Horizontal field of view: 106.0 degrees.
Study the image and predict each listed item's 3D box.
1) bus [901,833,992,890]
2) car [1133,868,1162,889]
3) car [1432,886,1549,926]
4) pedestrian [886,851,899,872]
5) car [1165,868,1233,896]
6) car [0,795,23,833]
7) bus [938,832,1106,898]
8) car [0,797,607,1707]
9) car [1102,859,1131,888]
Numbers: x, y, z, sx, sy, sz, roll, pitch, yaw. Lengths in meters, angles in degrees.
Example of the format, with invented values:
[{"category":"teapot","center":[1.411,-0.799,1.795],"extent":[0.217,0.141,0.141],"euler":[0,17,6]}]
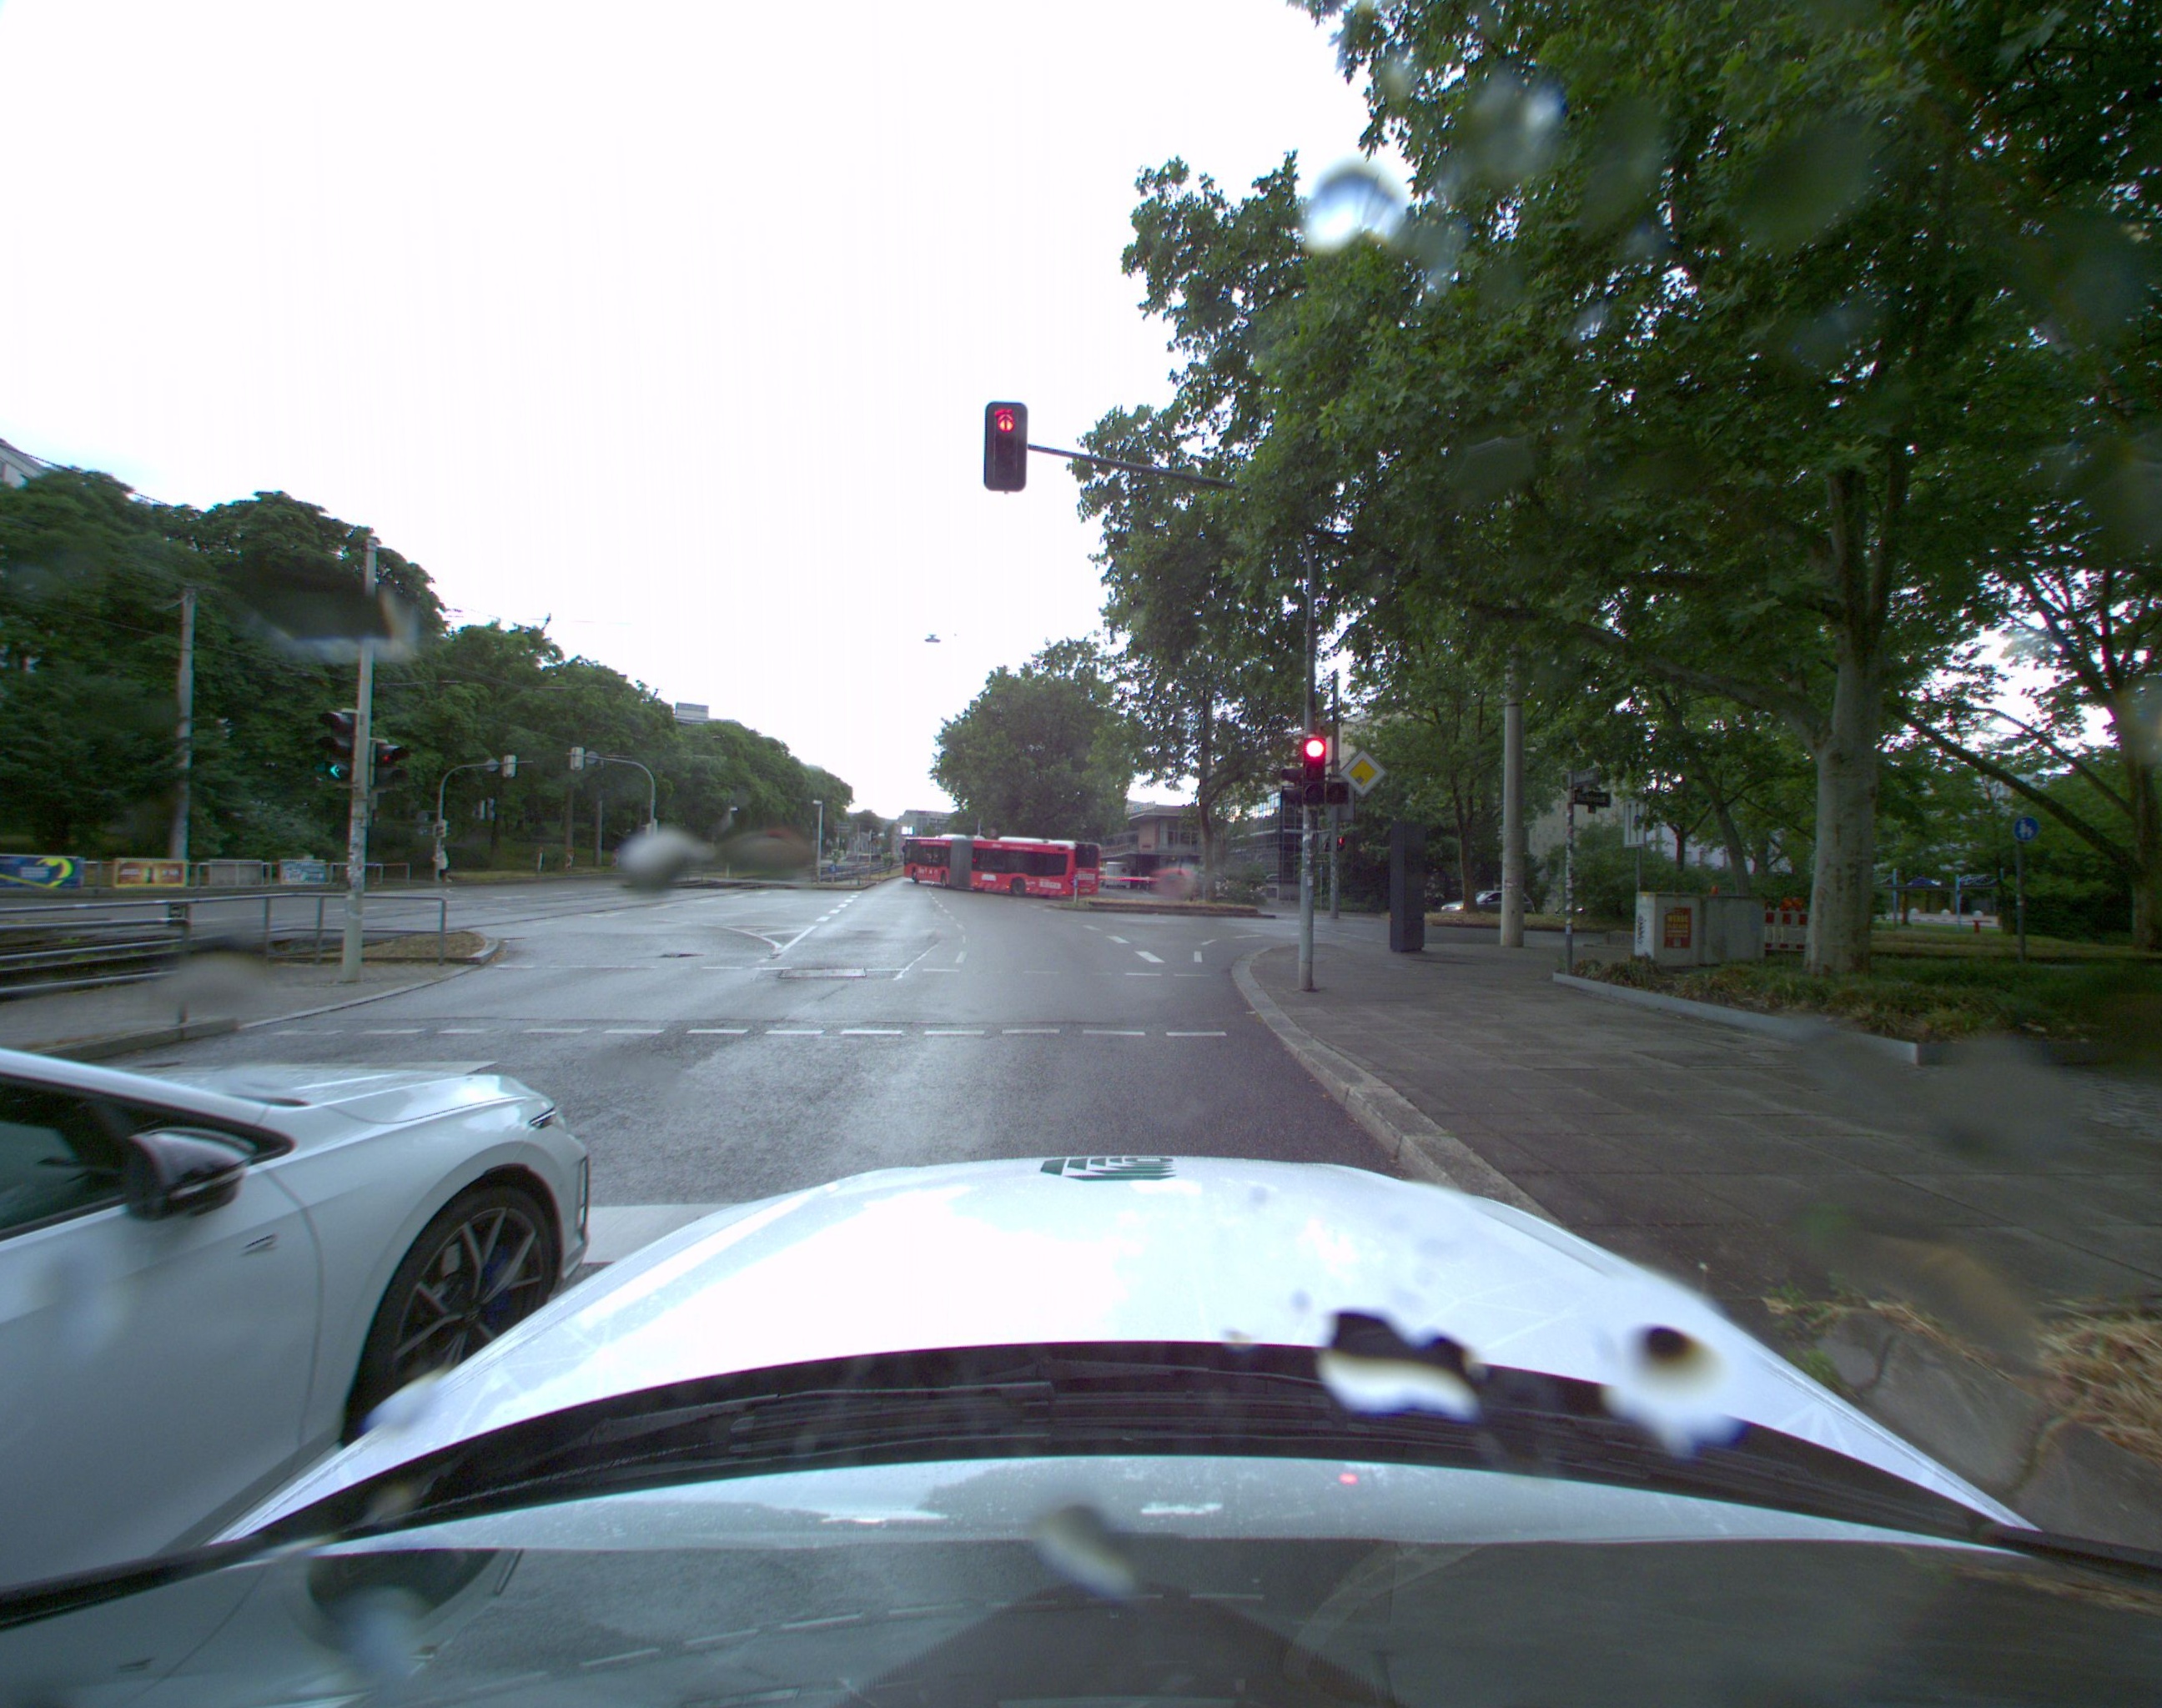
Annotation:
[{"category":"bus","center":[-8.464,0.439,50.078],"extent":[2.564,3.111,9.370],"euler":[4,-2,-28]},{"category":"car","center":[6.946,2.563,84.926],"extent":[1.994,2.014,3.985],"euler":[3,-1,-10]},{"category":"car","center":[17.343,2.198,34.622],"extent":[3.980,1.442,1.997],"euler":[3,-1,-5]},{"category":"pedestrian","center":[-14.588,0.592,63.161],"extent":[0.736,1.640,0.870],"euler":[3,-2,-3]},{"category":"car","center":[9.060,2.137,62.475],"extent":[4.762,1.943,1.986],"euler":[3,-2,-20]},{"category":"car","center":[-52.918,-2.002,38.402],"extent":[2.005,1.794,4.172],"euler":[4,-2,-28]},{"category":"bus","center":[-3.301,0.549,43.527],"extent":[9.067,3.111,2.680],"euler":[2,-2,34]},{"category":"car","center":[-2.426,0.695,0.488],"extent":[1.673,1.576,4.254],"euler":[1,0,2]},{"category":"car","center":[3.929,2.172,91.102],"extent":[2.539,3.134,5.024],"euler":[3,-1,-3]}]
